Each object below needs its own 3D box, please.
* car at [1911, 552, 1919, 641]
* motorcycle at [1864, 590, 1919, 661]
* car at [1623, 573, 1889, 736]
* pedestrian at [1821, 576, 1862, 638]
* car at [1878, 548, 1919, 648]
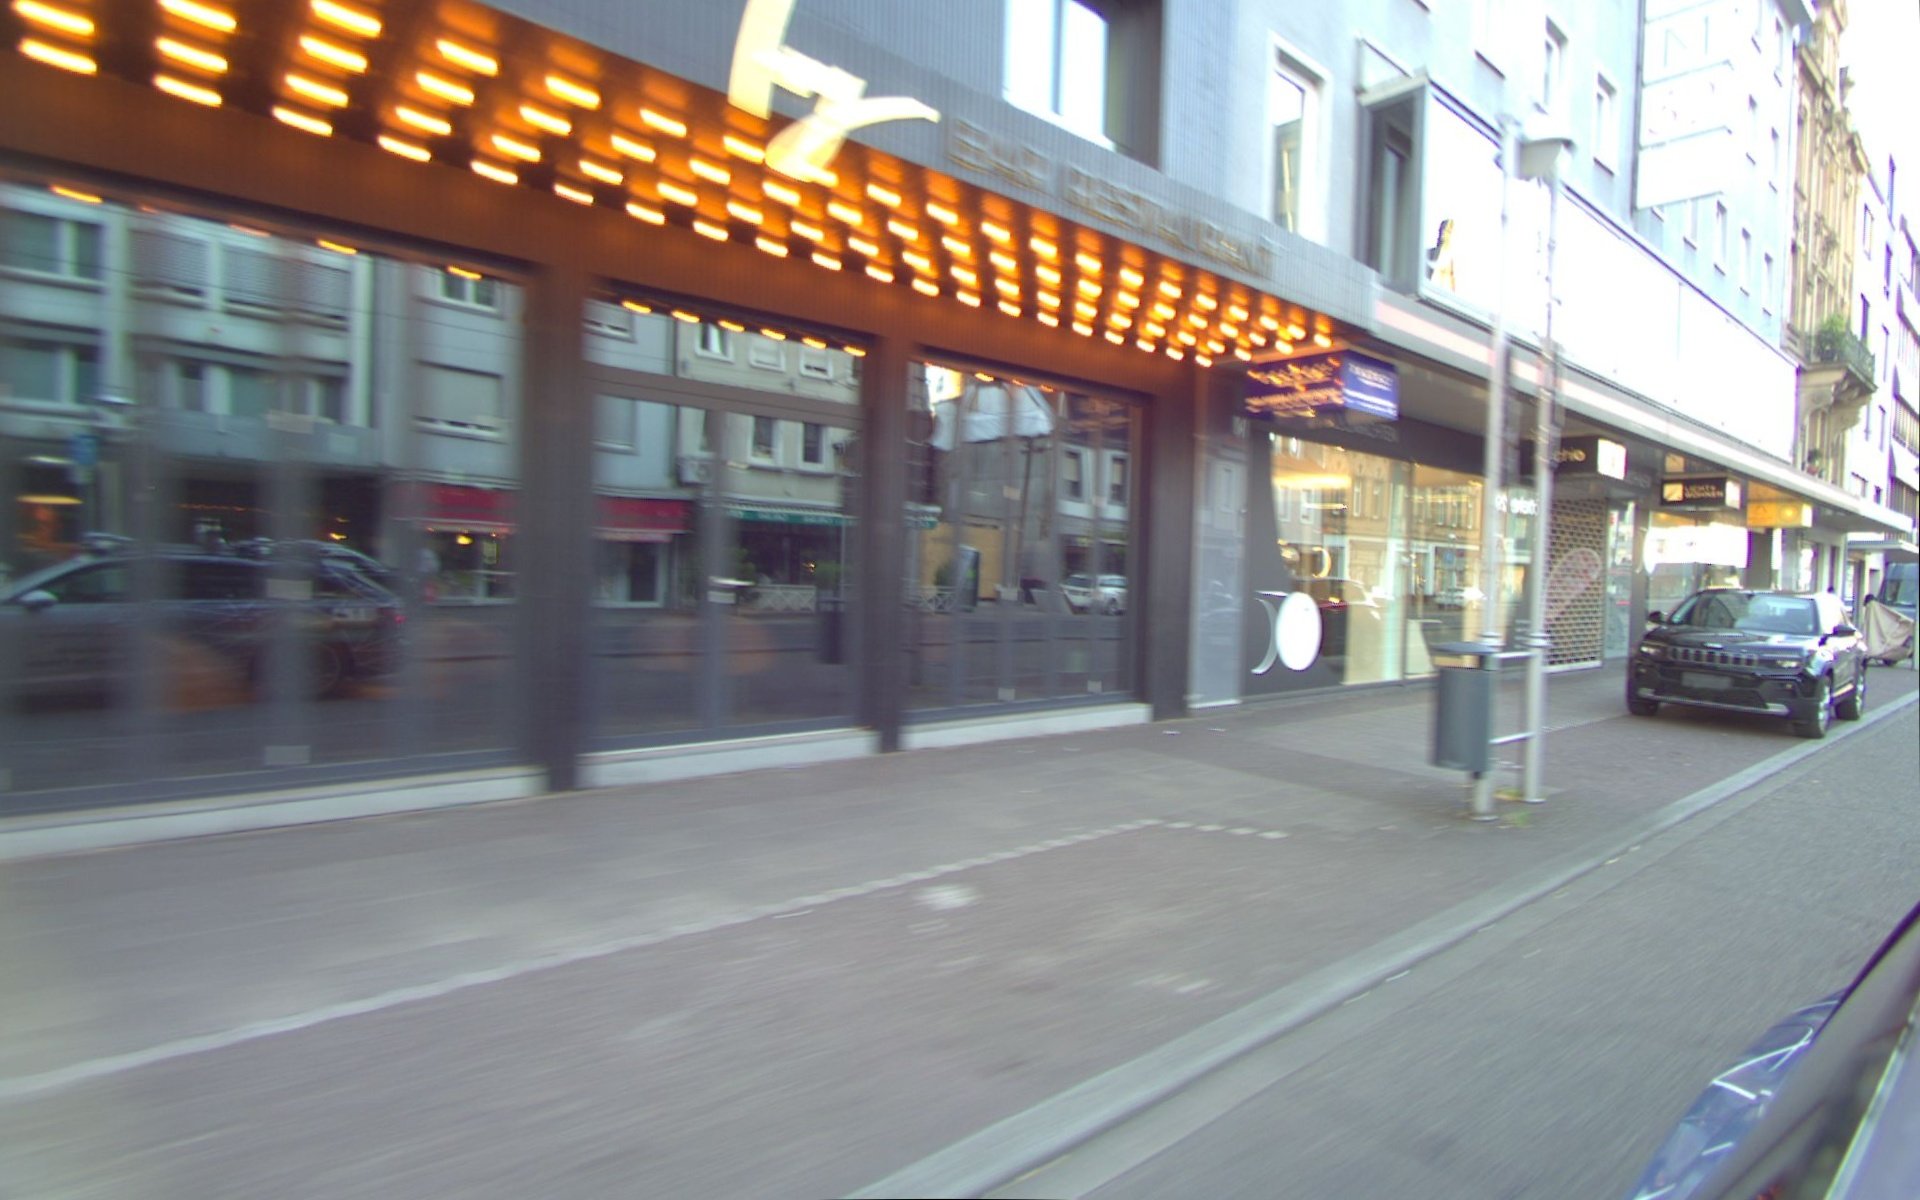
[{"bbox_3d":[30.761,-0.121,30.868,5.506,2.606,1.997,-1,1,-41],"label":"car"},{"bbox_3d":[20.452,0.529,22.023,2.591,1.421,0.784,0,3,-41],"label":"motorcycle"},{"bbox_3d":[9.388,0.491,11.831,3.897,1.560,1.743,-1,2,-41],"label":"car"},{"bbox_3d":[26.170,0.185,30.039,0.776,1.777,0.742,-1,4,-44],"label":"pedestrian"},{"bbox_3d":[26.067,-0.074,26.807,5.509,2.479,2.077,-1,0,-42],"label":"car"}]
